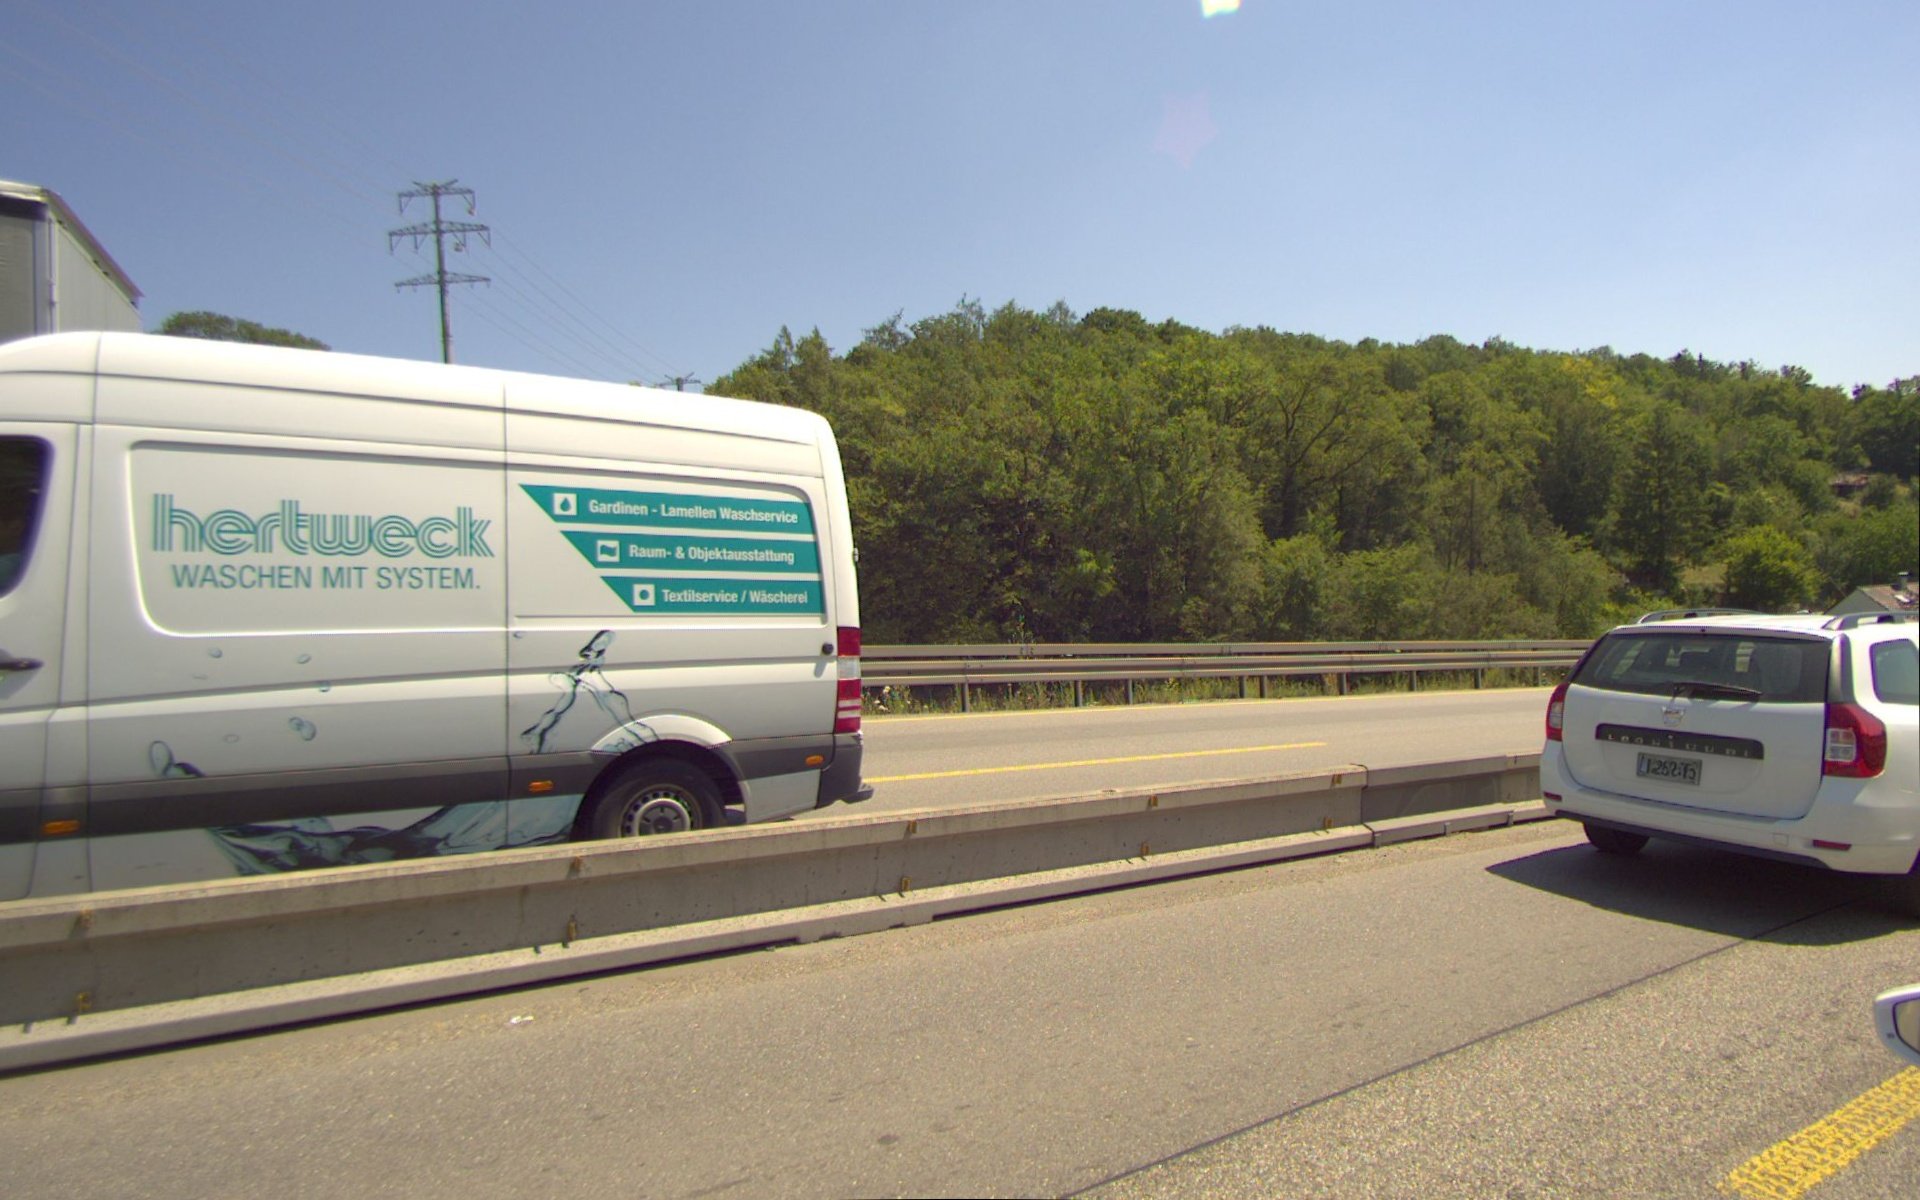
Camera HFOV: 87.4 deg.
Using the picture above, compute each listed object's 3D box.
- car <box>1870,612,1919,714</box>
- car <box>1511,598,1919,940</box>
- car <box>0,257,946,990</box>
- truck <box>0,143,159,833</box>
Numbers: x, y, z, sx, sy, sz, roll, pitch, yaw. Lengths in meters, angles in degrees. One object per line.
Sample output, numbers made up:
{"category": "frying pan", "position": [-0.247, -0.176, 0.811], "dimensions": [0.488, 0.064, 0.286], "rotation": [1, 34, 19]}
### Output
{"category": "car", "position": [16.873, 1.015, 16.474], "dimensions": [3.987, 1.572, 1.721], "rotation": [1, 1, -30]}
{"category": "car", "position": [5.444, 0.818, 6.207], "dimensions": [4.216, 1.503, 1.644], "rotation": [2, -2, -30]}
{"category": "car", "position": [-3.433, 0.107, 4.924], "dimensions": [6.582, 2.715, 1.961], "rotation": [2, -1, -30]}
{"category": "truck", "position": [-10.645, -0.806, 4.639], "dimensions": [10.427, 4.053, 2.787], "rotation": [2, 0, -30]}
